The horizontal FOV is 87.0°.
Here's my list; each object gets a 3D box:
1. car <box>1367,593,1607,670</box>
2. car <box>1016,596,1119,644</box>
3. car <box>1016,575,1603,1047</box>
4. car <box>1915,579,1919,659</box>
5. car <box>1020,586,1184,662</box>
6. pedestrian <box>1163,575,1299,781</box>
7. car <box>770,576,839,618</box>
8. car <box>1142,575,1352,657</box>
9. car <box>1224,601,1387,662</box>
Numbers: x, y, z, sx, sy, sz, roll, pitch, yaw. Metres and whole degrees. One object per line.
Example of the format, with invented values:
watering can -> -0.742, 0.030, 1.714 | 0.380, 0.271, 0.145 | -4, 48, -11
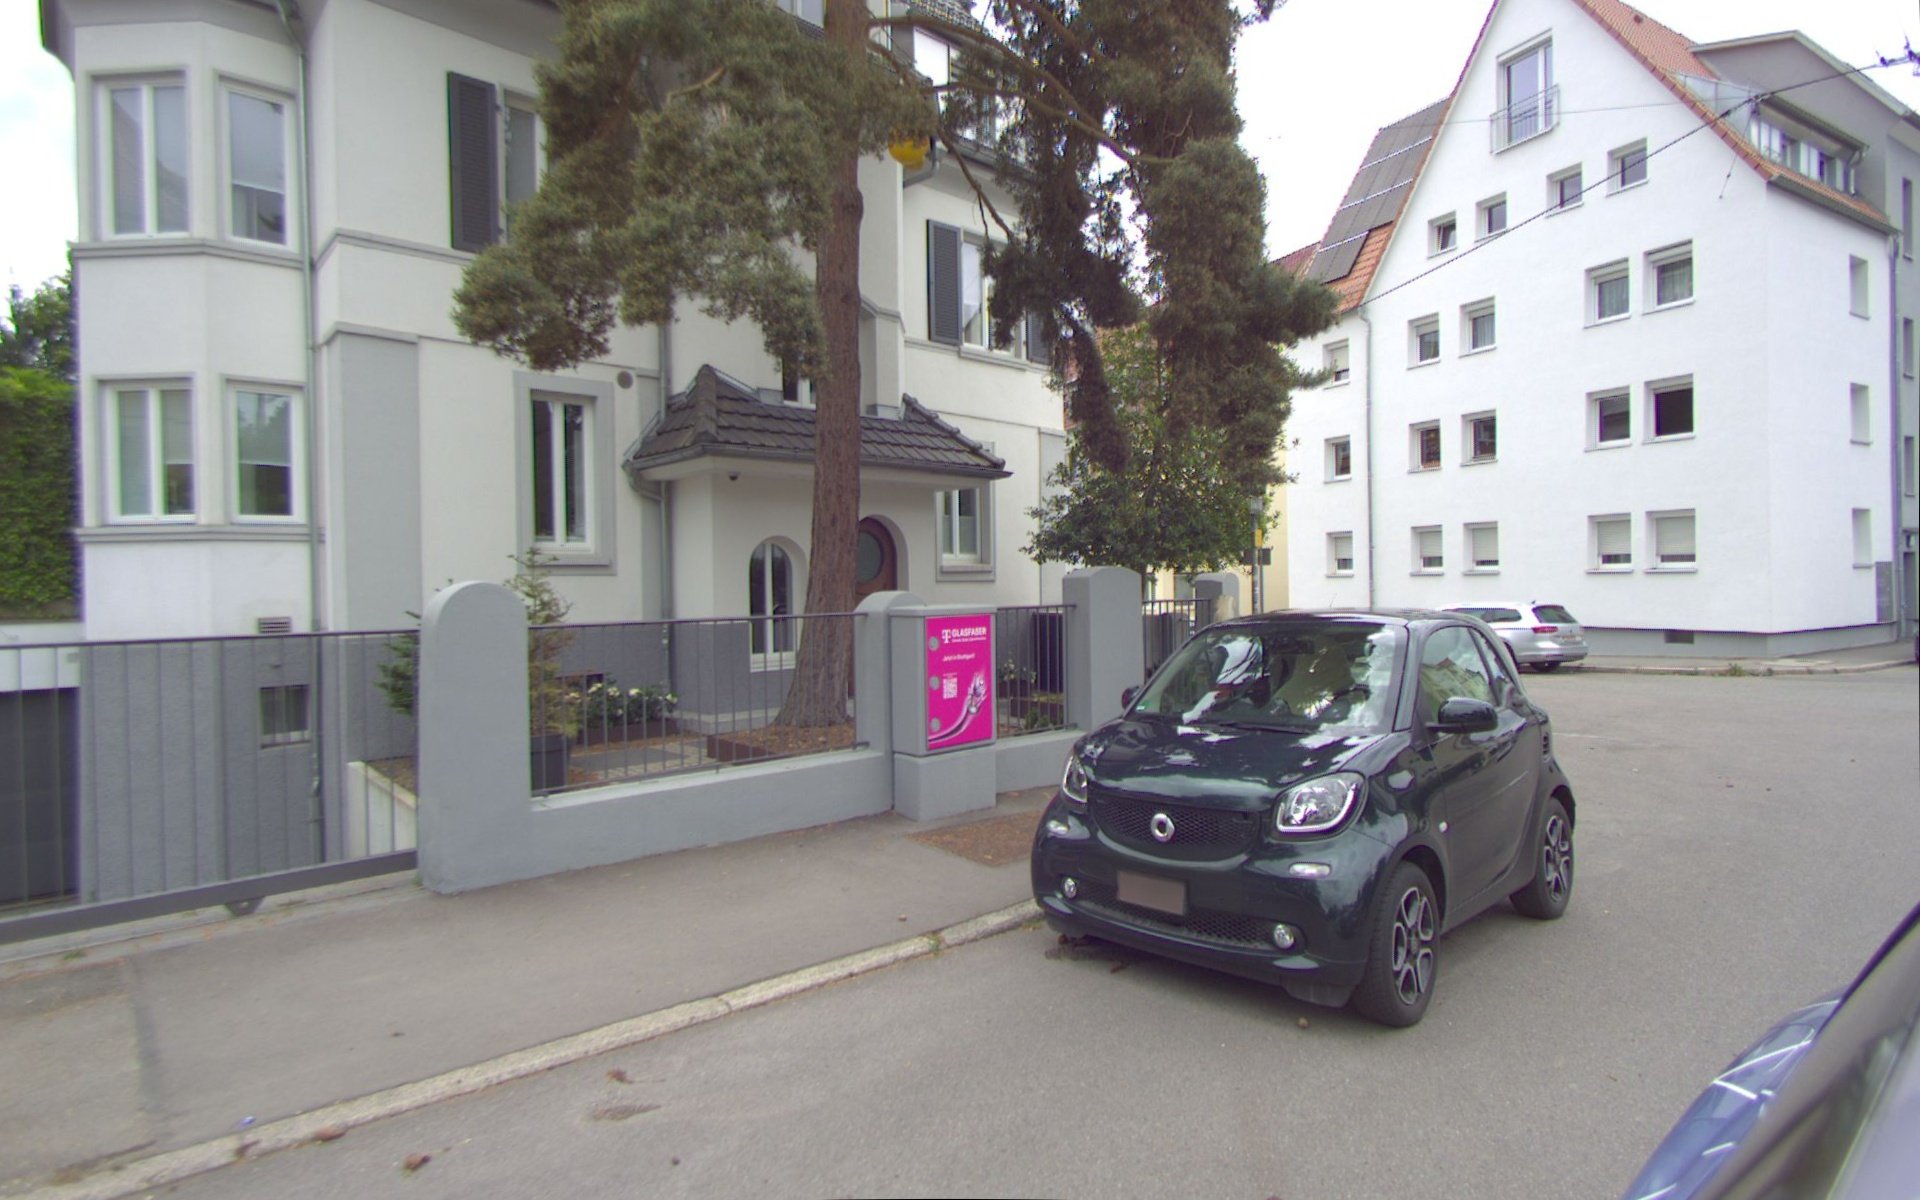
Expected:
car -> 11.246, 0.643, 21.942 | 1.728, 1.468, 4.363 | 0, -1, -29
car -> 3.893, 0.763, 37.418 | 1.830, 1.627, 4.004 | -2, -1, -28
car -> 1.815, 0.739, 4.921 | 2.821, 1.552, 1.572 | 1, -3, -45
car -> 20.235, 0.294, 19.400 | 4.203, 1.504, 1.825 | -2, 1, -33
car -> 3.180, 0.569, 23.572 | 1.637, 1.460, 4.209 | -5, 0, -26
pedestrian -> 2.260, 0.598, 8.455 | 0.889, 1.596, 0.683 | -1, 3, -36
car -> -6.718, -0.099, 43.318 | 1.588, 1.579, 3.979 | -5, 2, -28
car -> 5.157, 0.302, 18.583 | 1.638, 1.277, 3.482 | -4, 0, -30
car -> 8.939, 0.814, 26.521 | 1.702, 1.440, 4.005 | -1, -1, -26
